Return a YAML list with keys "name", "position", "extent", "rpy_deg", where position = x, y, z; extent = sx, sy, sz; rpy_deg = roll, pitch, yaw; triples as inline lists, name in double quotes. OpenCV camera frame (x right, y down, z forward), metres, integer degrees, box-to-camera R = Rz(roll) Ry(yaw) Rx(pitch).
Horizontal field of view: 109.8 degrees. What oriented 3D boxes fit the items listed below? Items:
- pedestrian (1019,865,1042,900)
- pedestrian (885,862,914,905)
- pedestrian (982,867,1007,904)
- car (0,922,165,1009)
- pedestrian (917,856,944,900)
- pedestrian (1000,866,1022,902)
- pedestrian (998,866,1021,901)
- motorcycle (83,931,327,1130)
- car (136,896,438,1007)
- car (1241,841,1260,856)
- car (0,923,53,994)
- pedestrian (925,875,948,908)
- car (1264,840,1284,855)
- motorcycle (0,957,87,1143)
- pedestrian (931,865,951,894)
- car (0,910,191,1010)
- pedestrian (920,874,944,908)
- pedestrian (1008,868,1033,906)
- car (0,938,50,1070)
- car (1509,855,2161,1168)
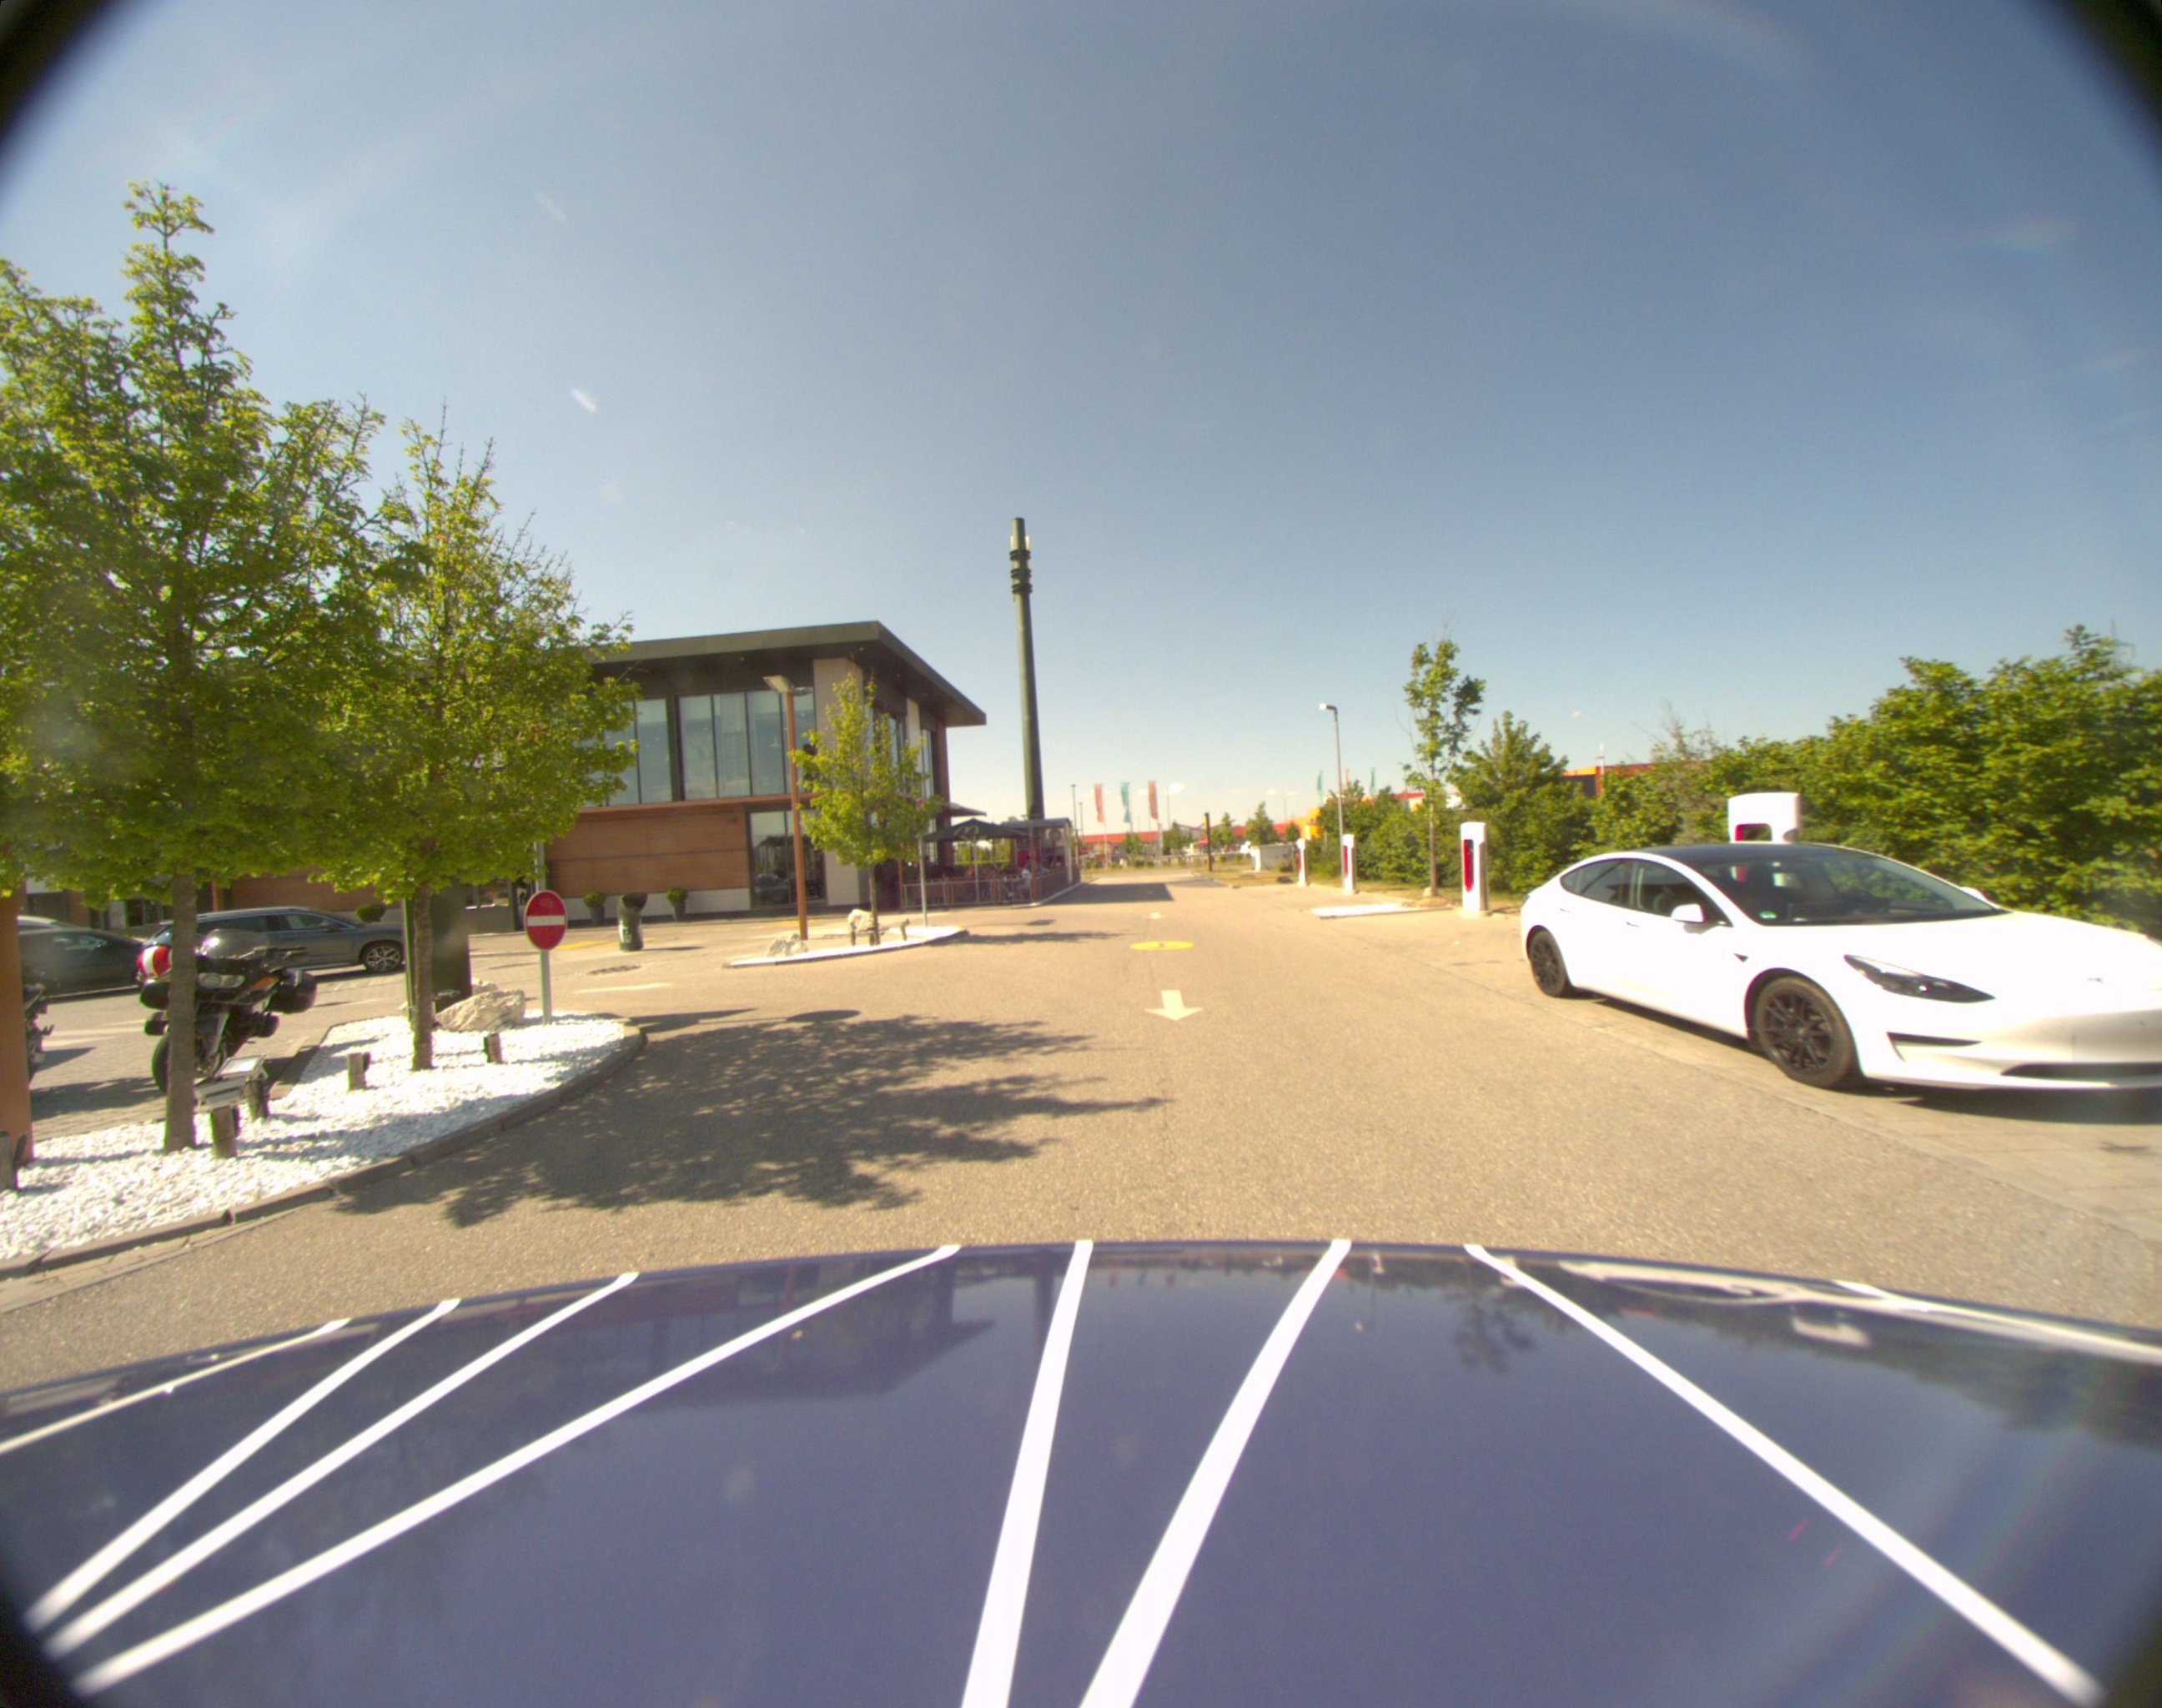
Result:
- name: "pedestrian"
  position: [-1.875, 1.041, 28.247]
  extent: [0.729, 1.250, 0.573]
  rpy_deg: [-4, 0, 0]
- name: "pedestrian"
  position: [-7.016, 1.144, 29.361]
  extent: [0.740, 1.574, 0.729]
  rpy_deg: [-4, 0, 14]
- name: "pedestrian"
  position: [-2.989, 1.087, 26.361]
  extent: [0.715, 1.250, 0.524]
  rpy_deg: [-4, 0, 1]
- name: "car"
  position: [-21.678, 2.334, 15.645]
  extent: [1.564, 1.473, 3.421]
  rpy_deg: [-3, 0, 44]
- name: "pedestrian"
  position: [-6.345, 0.999, 31.999]
  extent: [0.896, 1.758, 0.803]
  rpy_deg: [-4, 0, -4]
- name: "pedestrian"
  position: [-2.515, 1.067, 27.270]
  extent: [0.634, 1.250, 0.524]
  rpy_deg: [-4, 0, 1]
- name: "pedestrian"
  position: [-2.658, 1.101, 28.398]
  extent: [0.715, 1.250, 0.524]
  rpy_deg: [-4, 0, 1]
- name: "motorcycle"
  position: [-7.300, 1.358, 6.499]
  extent: [1.073, 1.243, 2.247]
  rpy_deg: [-5, 0, -44]
- name: "car"
  position: [-16.827, 1.965, 16.483]
  extent: [4.234, 1.594, 1.786]
  rpy_deg: [-6, 4, -41]
- name: "car"
  position: [24.168, -0.720, 108.324]
  extent: [1.998, 2.002, 4.001]
  rpy_deg: [-3, 0, 5]
- name: "car"
  position: [-27.338, 2.619, 17.733]
  extent: [1.753, 1.622, 3.851]
  rpy_deg: [-3, 0, 38]
- name: "pedestrian"
  position: [-5.118, 1.327, 26.970]
  extent: [0.634, 1.117, 0.524]
  rpy_deg: [-4, 0, 1]
- name: "car"
  position: [27.556, -0.883, 108.464]
  extent: [1.998, 2.002, 4.001]
  rpy_deg: [-3, 0, 5]
- name: "motorcycle"
  position: [-8.575, 1.498, 5.870]
  extent: [2.136, 1.224, 0.822]
  rpy_deg: [-5, 0, 43]
- name: "pedestrian"
  position: [-5.516, 0.988, 29.936]
  extent: [0.573, 1.094, 0.656]
  rpy_deg: [-4, 0, 3]
- name: "car"
  position: [-23.709, 2.438, 17.377]
  extent: [1.753, 1.910, 4.153]
  rpy_deg: [-3, 0, 44]
- name: "pedestrian"
  position: [-5.152, 1.290, 26.285]
  extent: [0.634, 1.117, 0.524]
  rpy_deg: [-4, 0, 1]
- name: "pedestrian"
  position: [-2.109, 1.138, 26.553]
  extent: [0.729, 1.250, 0.573]
  rpy_deg: [-4, 0, 0]
- name: "car"
  position: [-12.172, 1.666, 7.075]
  extent: [1.839, 1.438, 4.652]
  rpy_deg: [-4, -1, -38]
- name: "car"
  position: [5.270, 0.758, 5.763]
  extent: [1.820, 1.369, 4.450]
  rpy_deg: [-3, 0, 5]
